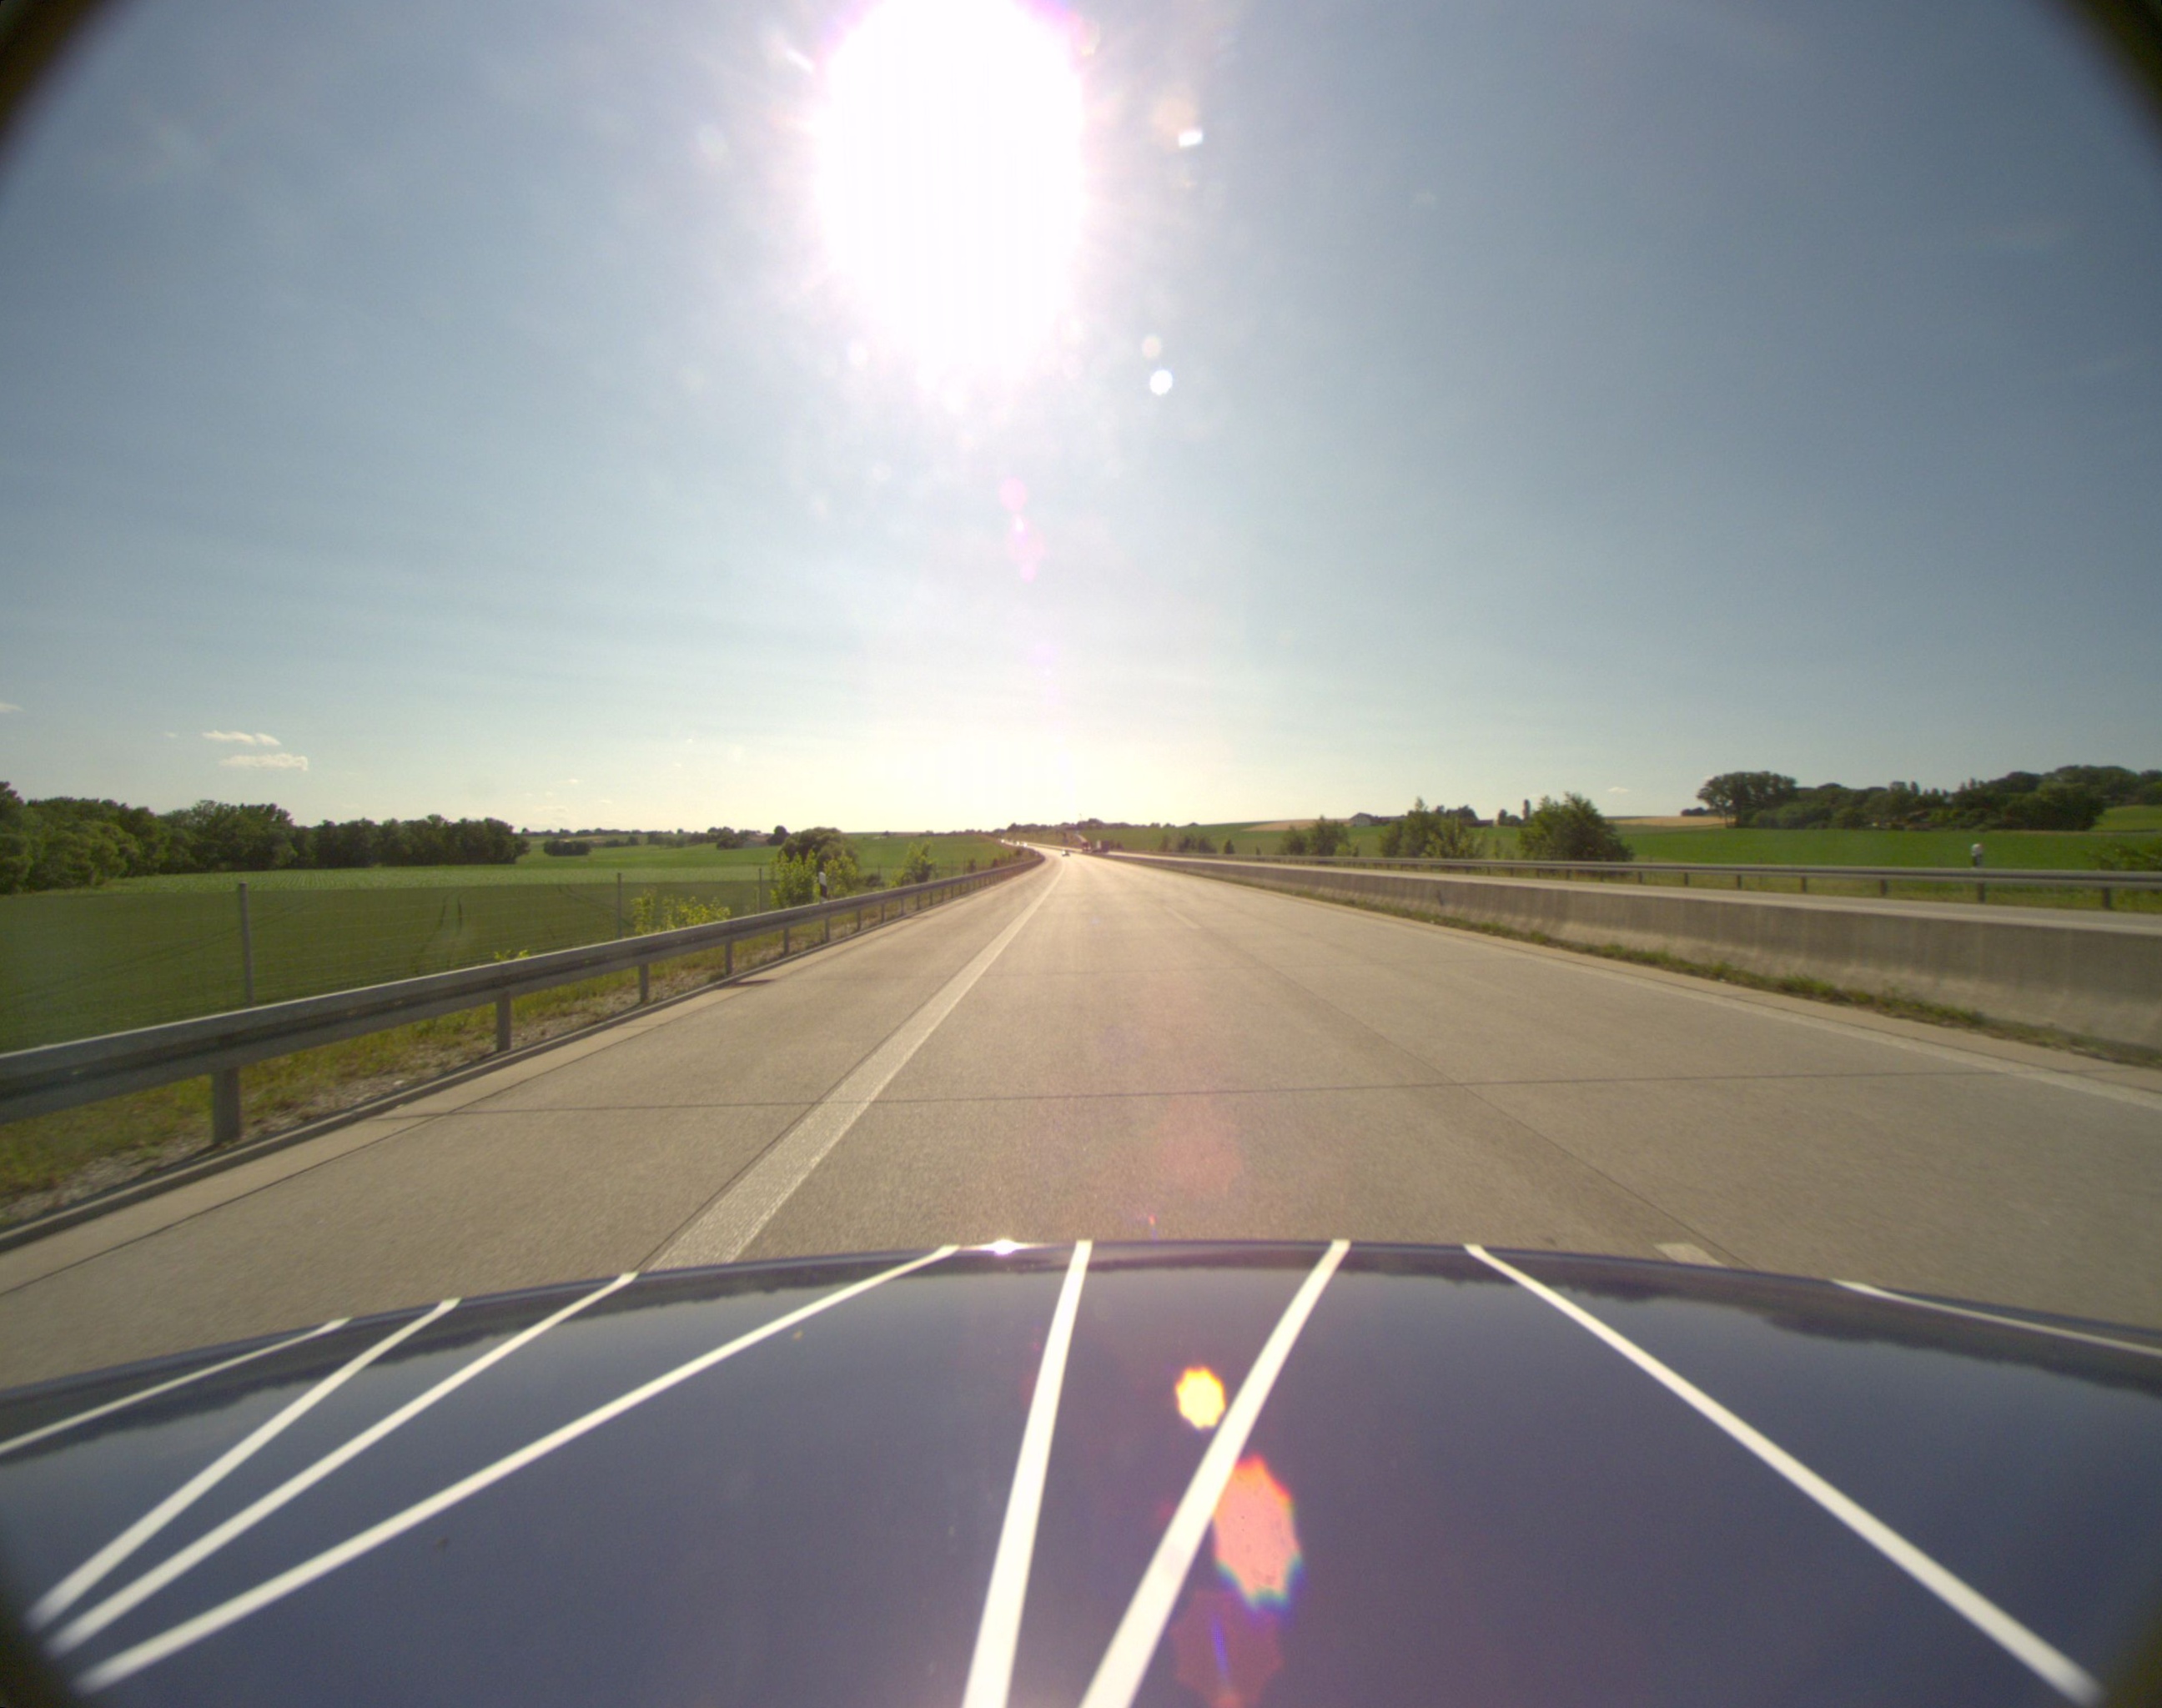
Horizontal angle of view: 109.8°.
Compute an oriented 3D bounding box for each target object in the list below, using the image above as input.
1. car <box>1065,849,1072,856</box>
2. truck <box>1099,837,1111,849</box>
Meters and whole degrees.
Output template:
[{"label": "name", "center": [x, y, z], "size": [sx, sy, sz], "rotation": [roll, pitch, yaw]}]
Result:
[{"label": "car", "center": [-3.128, -0.504, 190.683], "size": [1.715, 1.580, 4.625], "rotation": [-2, 1, -2]}, {"label": "truck", "center": [7.965, -3.707, 252.520], "size": [2.867, 3.985, 13.862], "rotation": [-1, 1, -2]}]
